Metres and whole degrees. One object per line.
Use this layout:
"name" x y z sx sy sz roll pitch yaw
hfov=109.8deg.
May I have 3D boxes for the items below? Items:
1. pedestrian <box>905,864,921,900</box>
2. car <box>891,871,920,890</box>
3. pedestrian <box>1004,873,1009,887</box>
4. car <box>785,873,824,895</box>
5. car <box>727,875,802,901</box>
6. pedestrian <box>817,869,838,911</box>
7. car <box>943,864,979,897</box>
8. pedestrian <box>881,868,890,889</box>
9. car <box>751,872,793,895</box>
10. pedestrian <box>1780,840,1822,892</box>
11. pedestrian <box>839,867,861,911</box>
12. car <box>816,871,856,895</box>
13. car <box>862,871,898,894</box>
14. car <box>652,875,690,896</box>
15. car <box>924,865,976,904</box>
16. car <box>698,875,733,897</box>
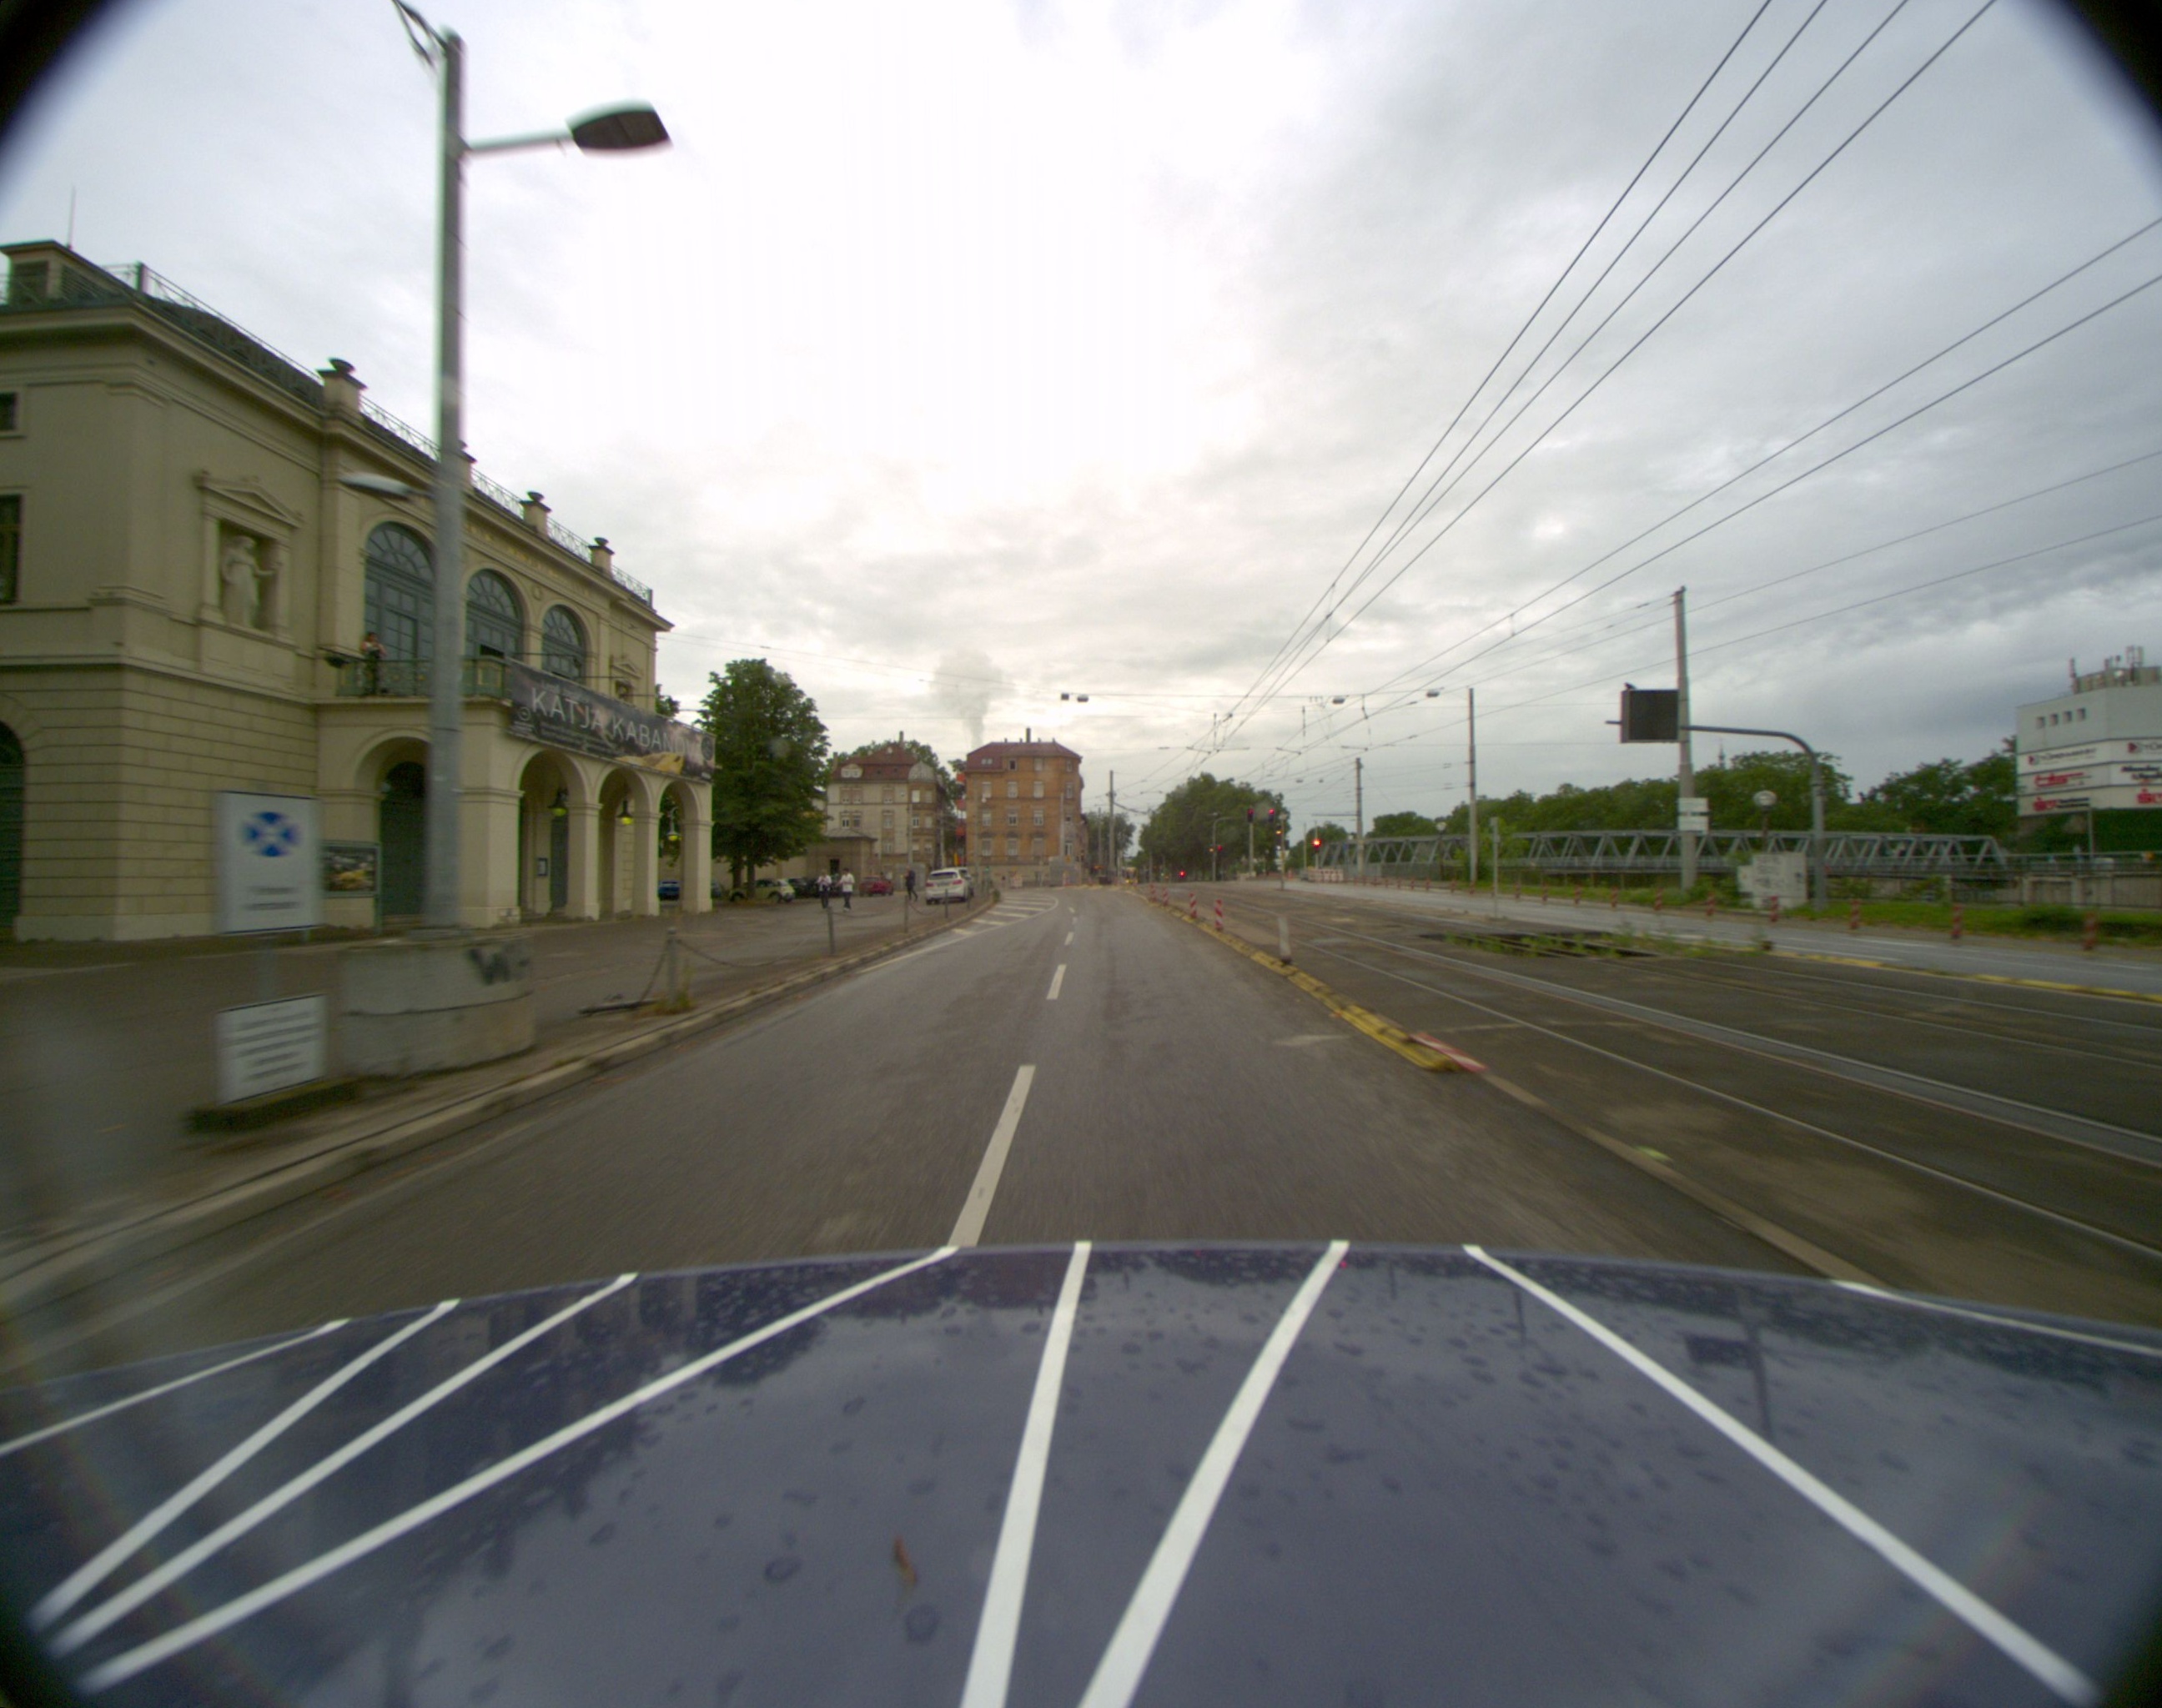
"pedestrian" -8.580 1.422 38.802 0.698 1.796 0.781 -2 0 -8
"car" -15.117 2.272 65.762 1.831 1.573 3.999 0 -1 -4
"pedestrian" -9.307 3.273 95.259 0.512 1.644 0.535 -1 0 -1
"car" -20.256 2.198 55.874 1.682 1.488 3.999 0 -1 -5
"car" -18.875 2.040 45.381 3.742 1.460 1.729 0 0 4
"pedestrian" -10.129 1.429 30.377 0.629 1.635 0.780 0 0 -5
"car" -6.569 1.416 41.947 1.721 1.630 4.140 -4 0 -7
"pedestrian" -16.449 2.077 63.920 0.451 1.731 0.712 0 0 13
"car" -22.744 2.121 56.017 1.831 1.573 3.998 0 -1 -6
"pedestrian" 23.551 0.402 24.865 0.766 1.678 0.619 0 0 0
"pedestrian" -9.077 1.363 29.845 0.595 1.726 0.839 0 0 -1
"car" -17.701 2.054 55.012 1.864 1.539 4.064 -2 0 -5
"car" -14.489 2.043 54.902 1.831 1.573 3.999 0 -1 -4
"car" -29.494 2.269 54.570 1.707 1.387 3.989 0 -1 -38
"car" -6.161 1.386 36.127 1.844 1.630 4.142 -4 0 -3
"car" -26.574 2.318 55.371 1.724 1.433 3.994 0 -1 -17
